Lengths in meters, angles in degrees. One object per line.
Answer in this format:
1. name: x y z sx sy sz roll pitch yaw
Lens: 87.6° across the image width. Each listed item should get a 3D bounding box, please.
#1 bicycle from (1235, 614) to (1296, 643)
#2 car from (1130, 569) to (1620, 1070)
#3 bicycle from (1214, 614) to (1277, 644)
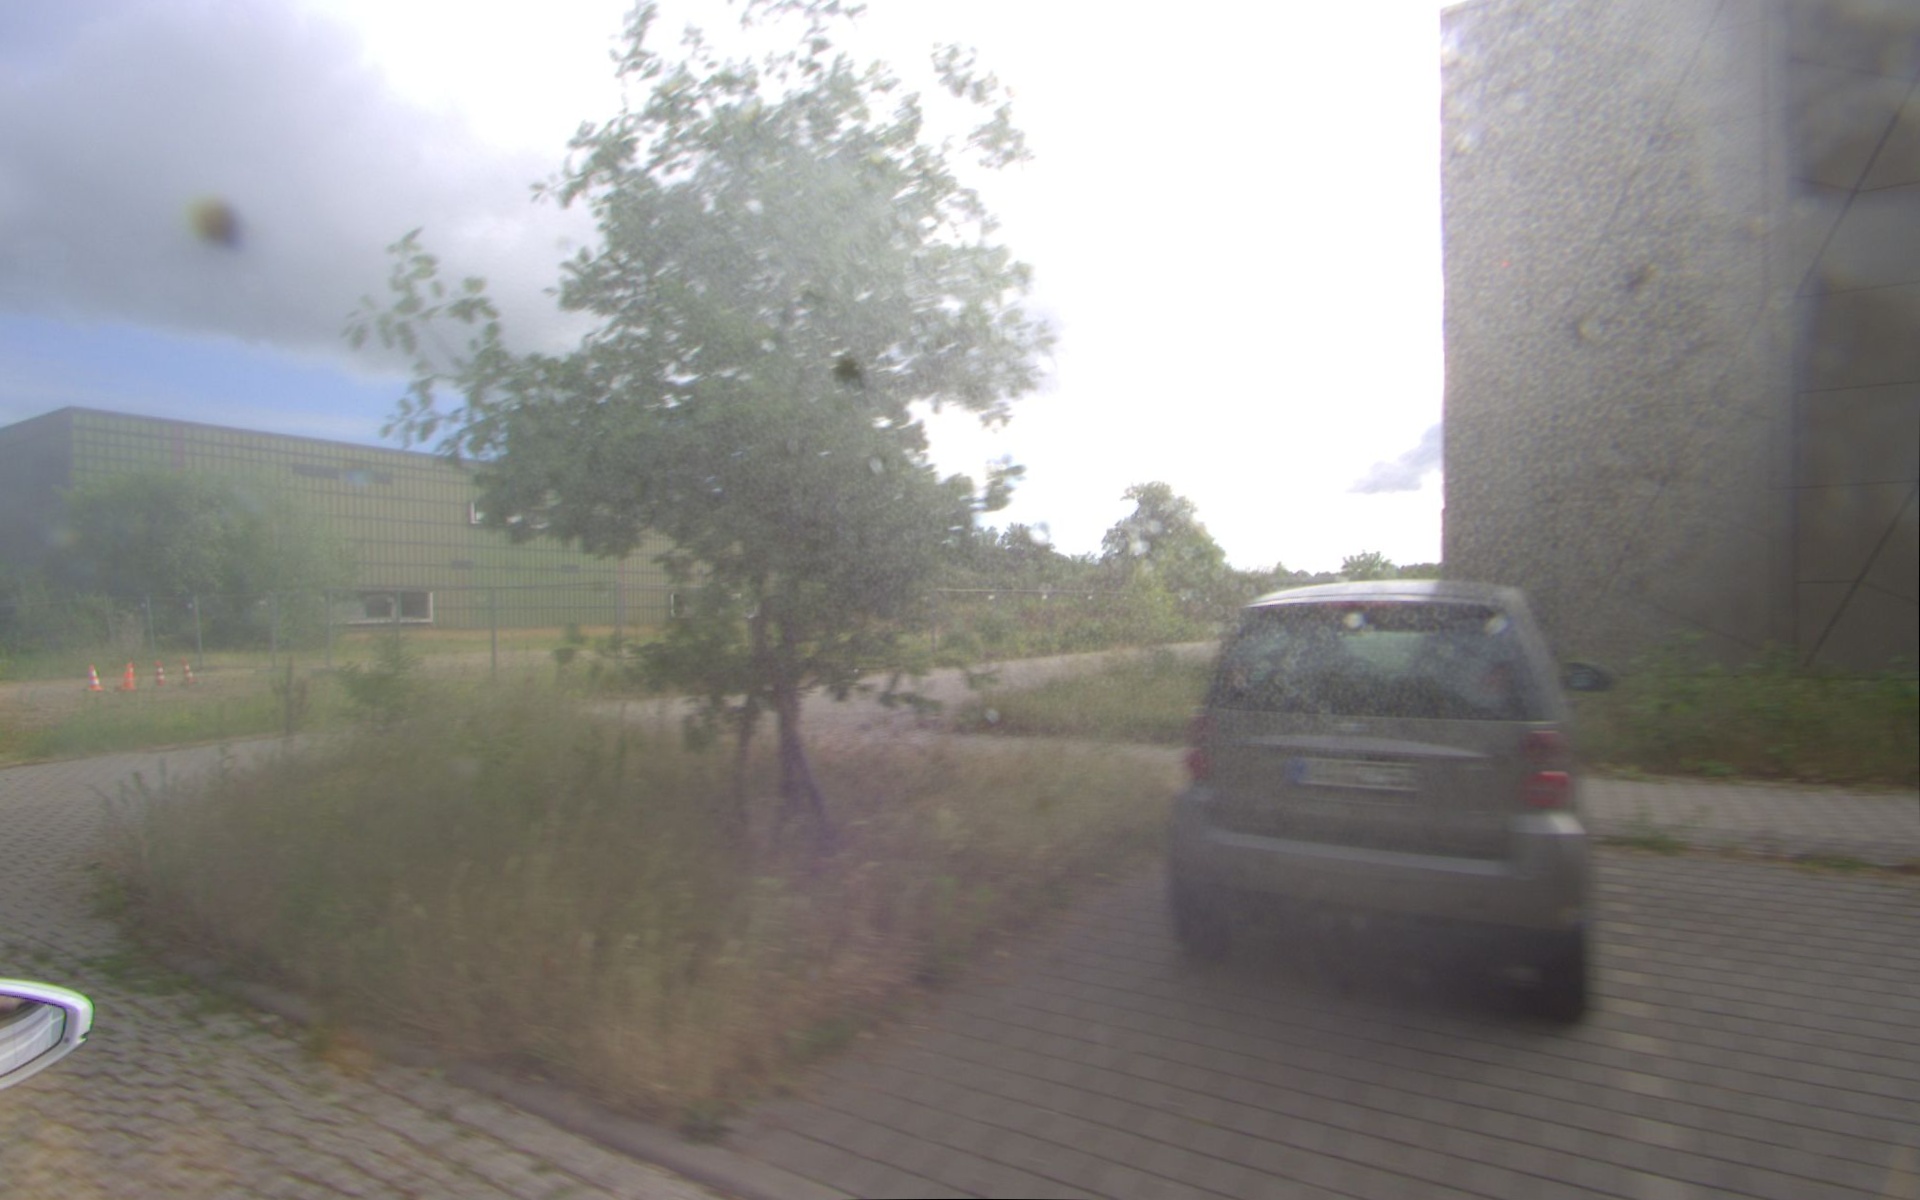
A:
1. bicycle: 11.246 1.048 36.888 1.962 1.038 0.832 -2 -1 34
2. car: 2.121 0.687 4.821 1.658 1.604 2.735 -1 2 31
3. bicycle: 10.032 1.024 35.164 1.962 1.038 0.832 -2 -1 34
